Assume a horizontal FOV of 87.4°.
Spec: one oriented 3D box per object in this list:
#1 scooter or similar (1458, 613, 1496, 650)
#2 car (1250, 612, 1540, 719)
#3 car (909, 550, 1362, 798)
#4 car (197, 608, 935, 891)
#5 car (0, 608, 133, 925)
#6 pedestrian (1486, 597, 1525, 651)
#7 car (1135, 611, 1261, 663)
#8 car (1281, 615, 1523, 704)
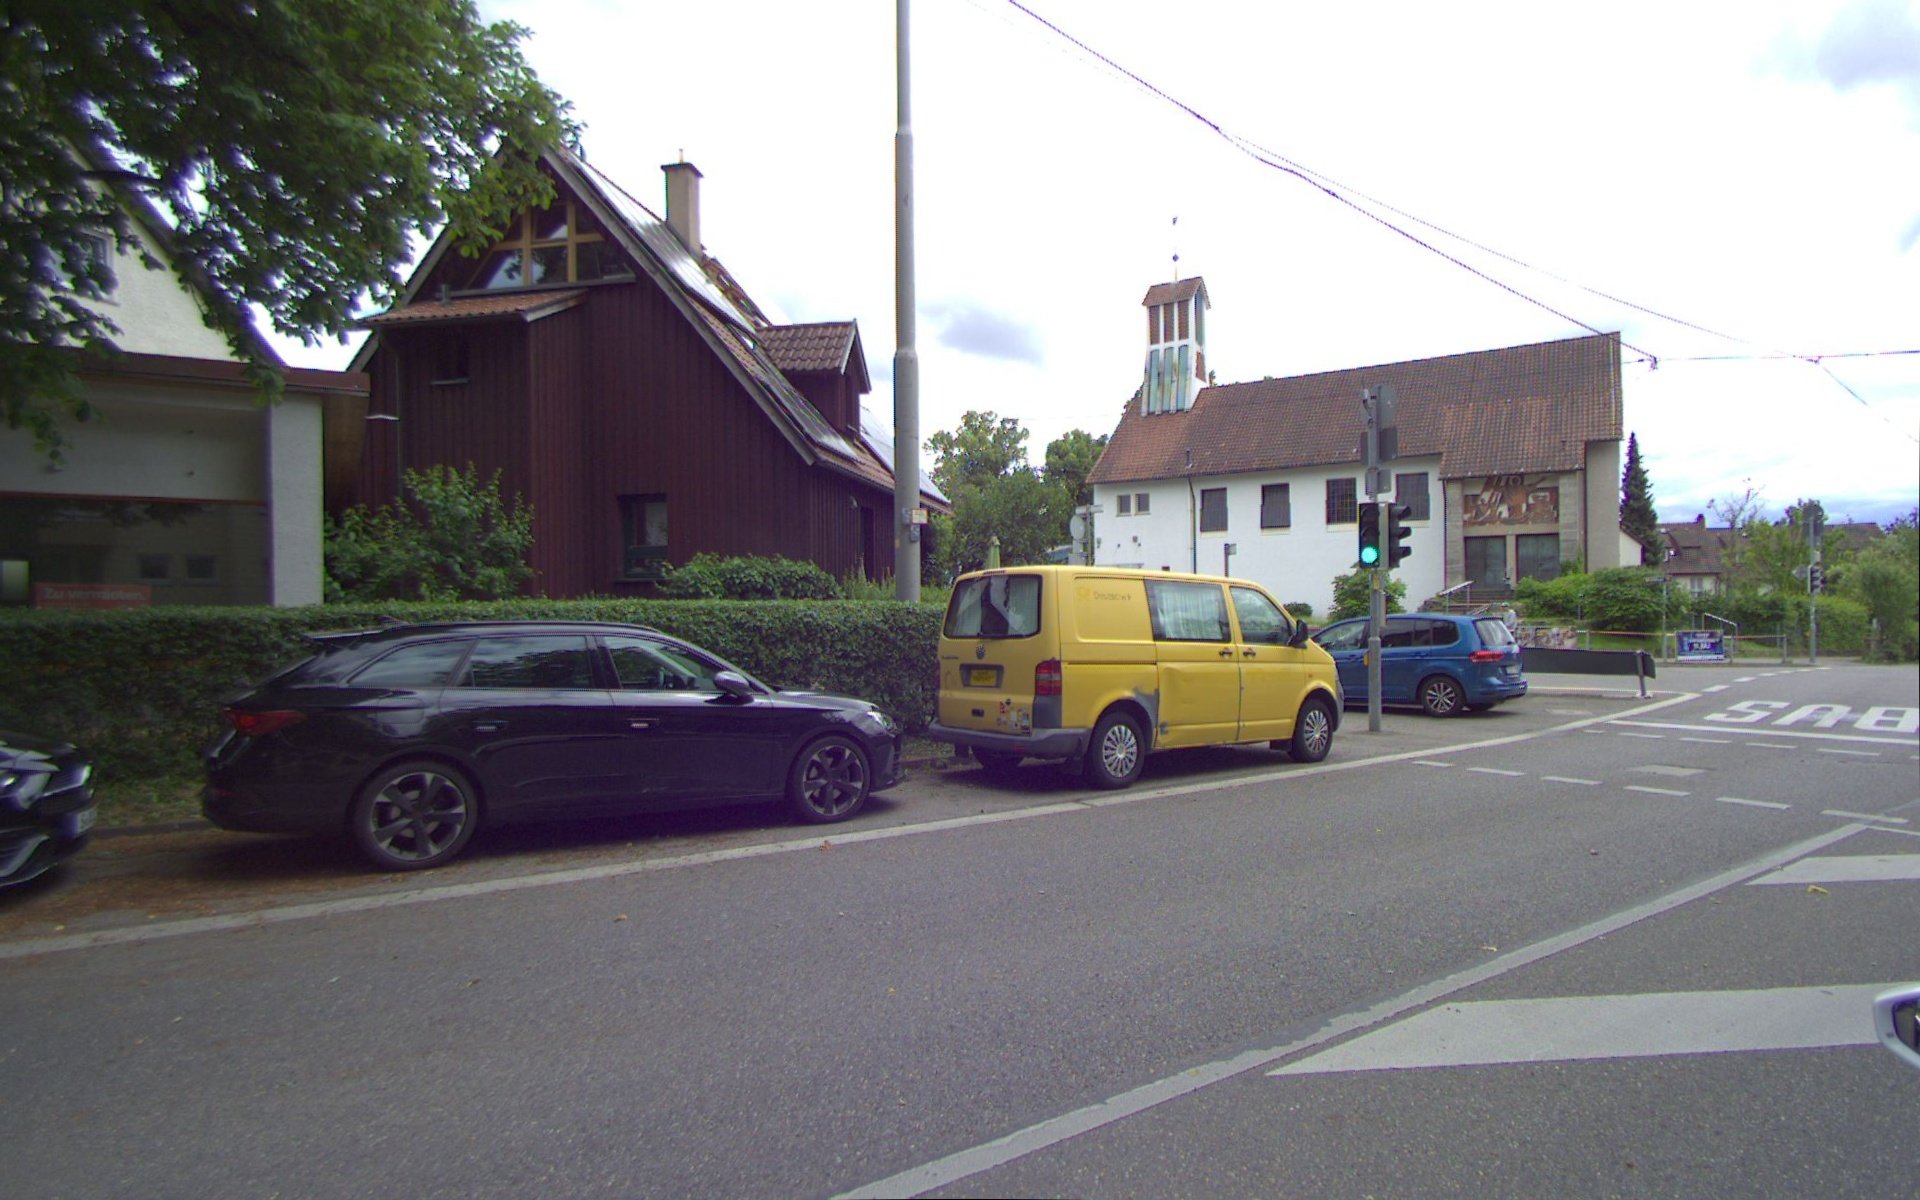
[{"bbox_3d":[16.393,0.998,31.849,0.872,1.109,0.612,2,0,1],"label":"scooter or similar"},{"bbox_3d":[7.242,1.017,17.021,1.832,1.567,4.126,0,-1,-43],"label":"car"},{"bbox_3d":[1.962,0.659,10.368,4.756,2.016,1.903,1,-2,-37],"label":"car"},{"bbox_3d":[-2.531,0.847,7.182,4.464,1.469,1.736,1,-2,-32],"label":"car"},{"bbox_3d":[-6.687,0.751,4.340,4.541,1.469,1.736,1,-2,-31],"label":"car"},{"bbox_3d":[17.266,0.748,31.814,0.814,1.675,0.689,2,0,2],"label":"pedestrian"},{"bbox_3d":[7.205,1.122,30.612,3.610,1.509,1.776,-1,-1,12],"label":"car"},{"bbox_3d":[8.361,1.062,19.161,3.848,1.492,1.836,-1,-1,41],"label":"car"}]
